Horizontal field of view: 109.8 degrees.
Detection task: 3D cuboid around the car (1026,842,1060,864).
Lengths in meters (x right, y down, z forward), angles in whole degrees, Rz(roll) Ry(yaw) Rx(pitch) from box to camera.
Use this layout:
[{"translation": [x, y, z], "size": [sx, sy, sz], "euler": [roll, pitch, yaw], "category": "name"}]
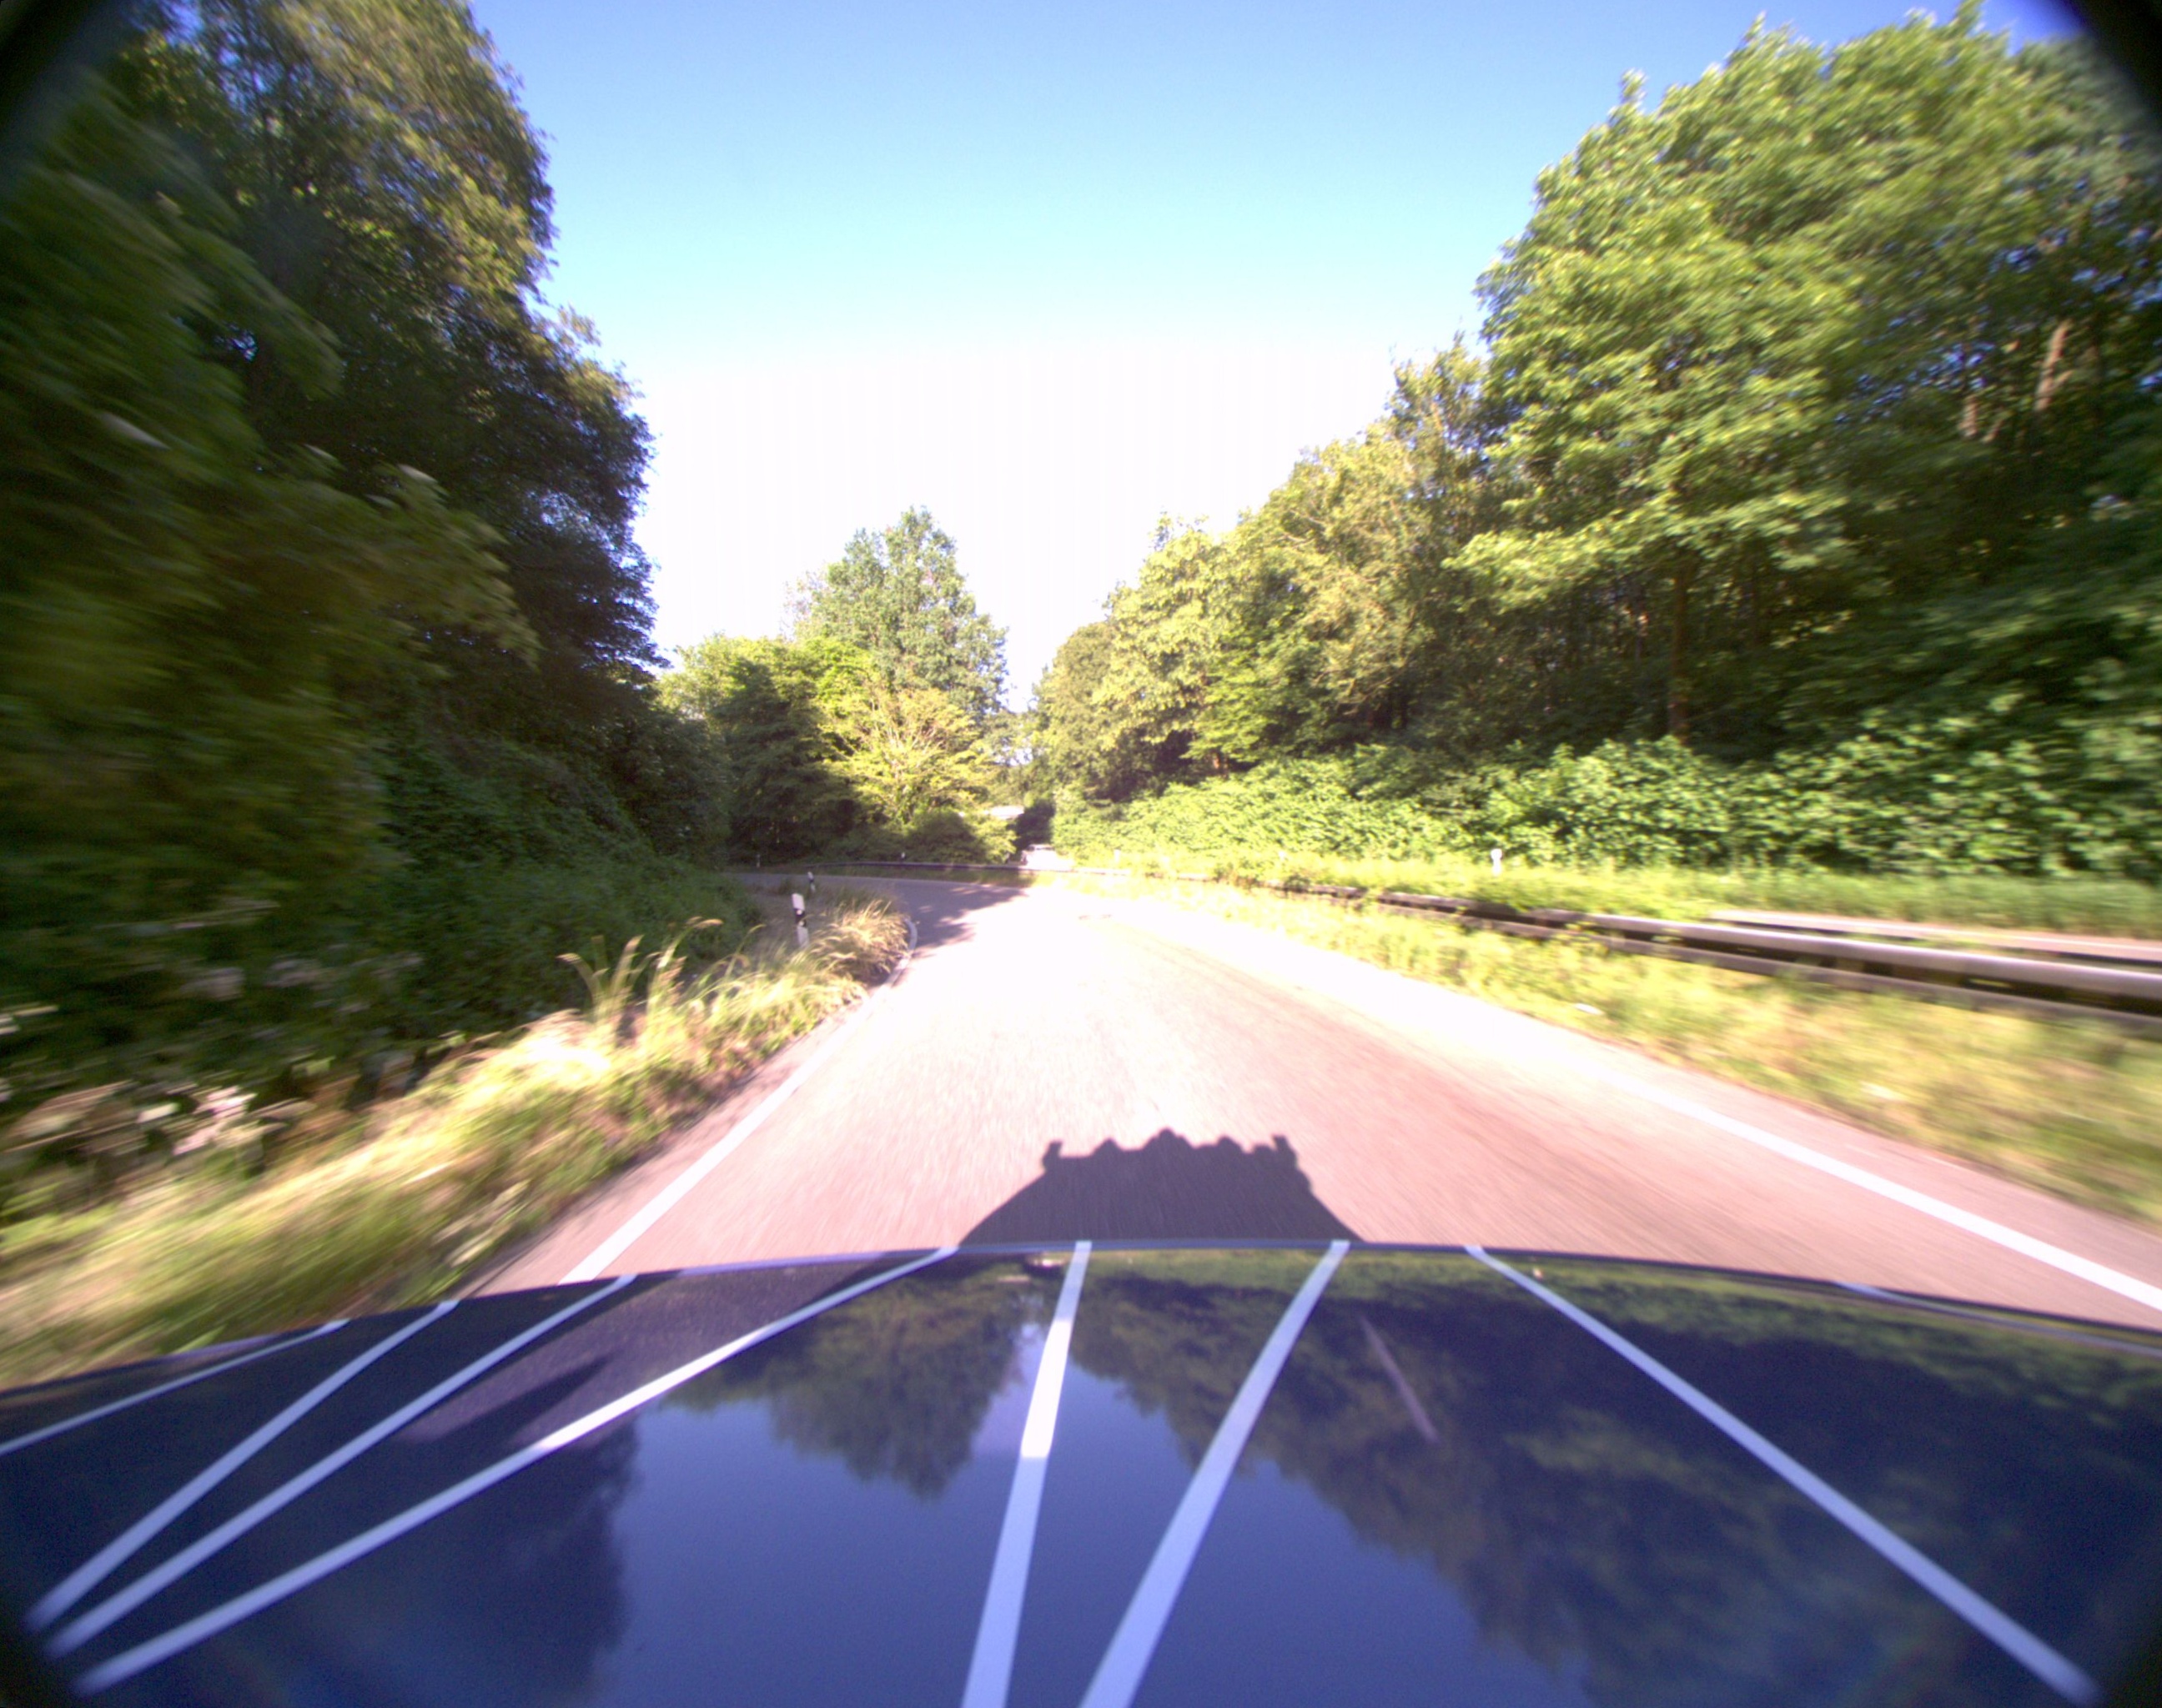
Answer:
[{"translation": [-2.759, -0.072, 54.312], "size": [1.727, 1.479, 3.994], "euler": [-2, 1, -14], "category": "car"}]
